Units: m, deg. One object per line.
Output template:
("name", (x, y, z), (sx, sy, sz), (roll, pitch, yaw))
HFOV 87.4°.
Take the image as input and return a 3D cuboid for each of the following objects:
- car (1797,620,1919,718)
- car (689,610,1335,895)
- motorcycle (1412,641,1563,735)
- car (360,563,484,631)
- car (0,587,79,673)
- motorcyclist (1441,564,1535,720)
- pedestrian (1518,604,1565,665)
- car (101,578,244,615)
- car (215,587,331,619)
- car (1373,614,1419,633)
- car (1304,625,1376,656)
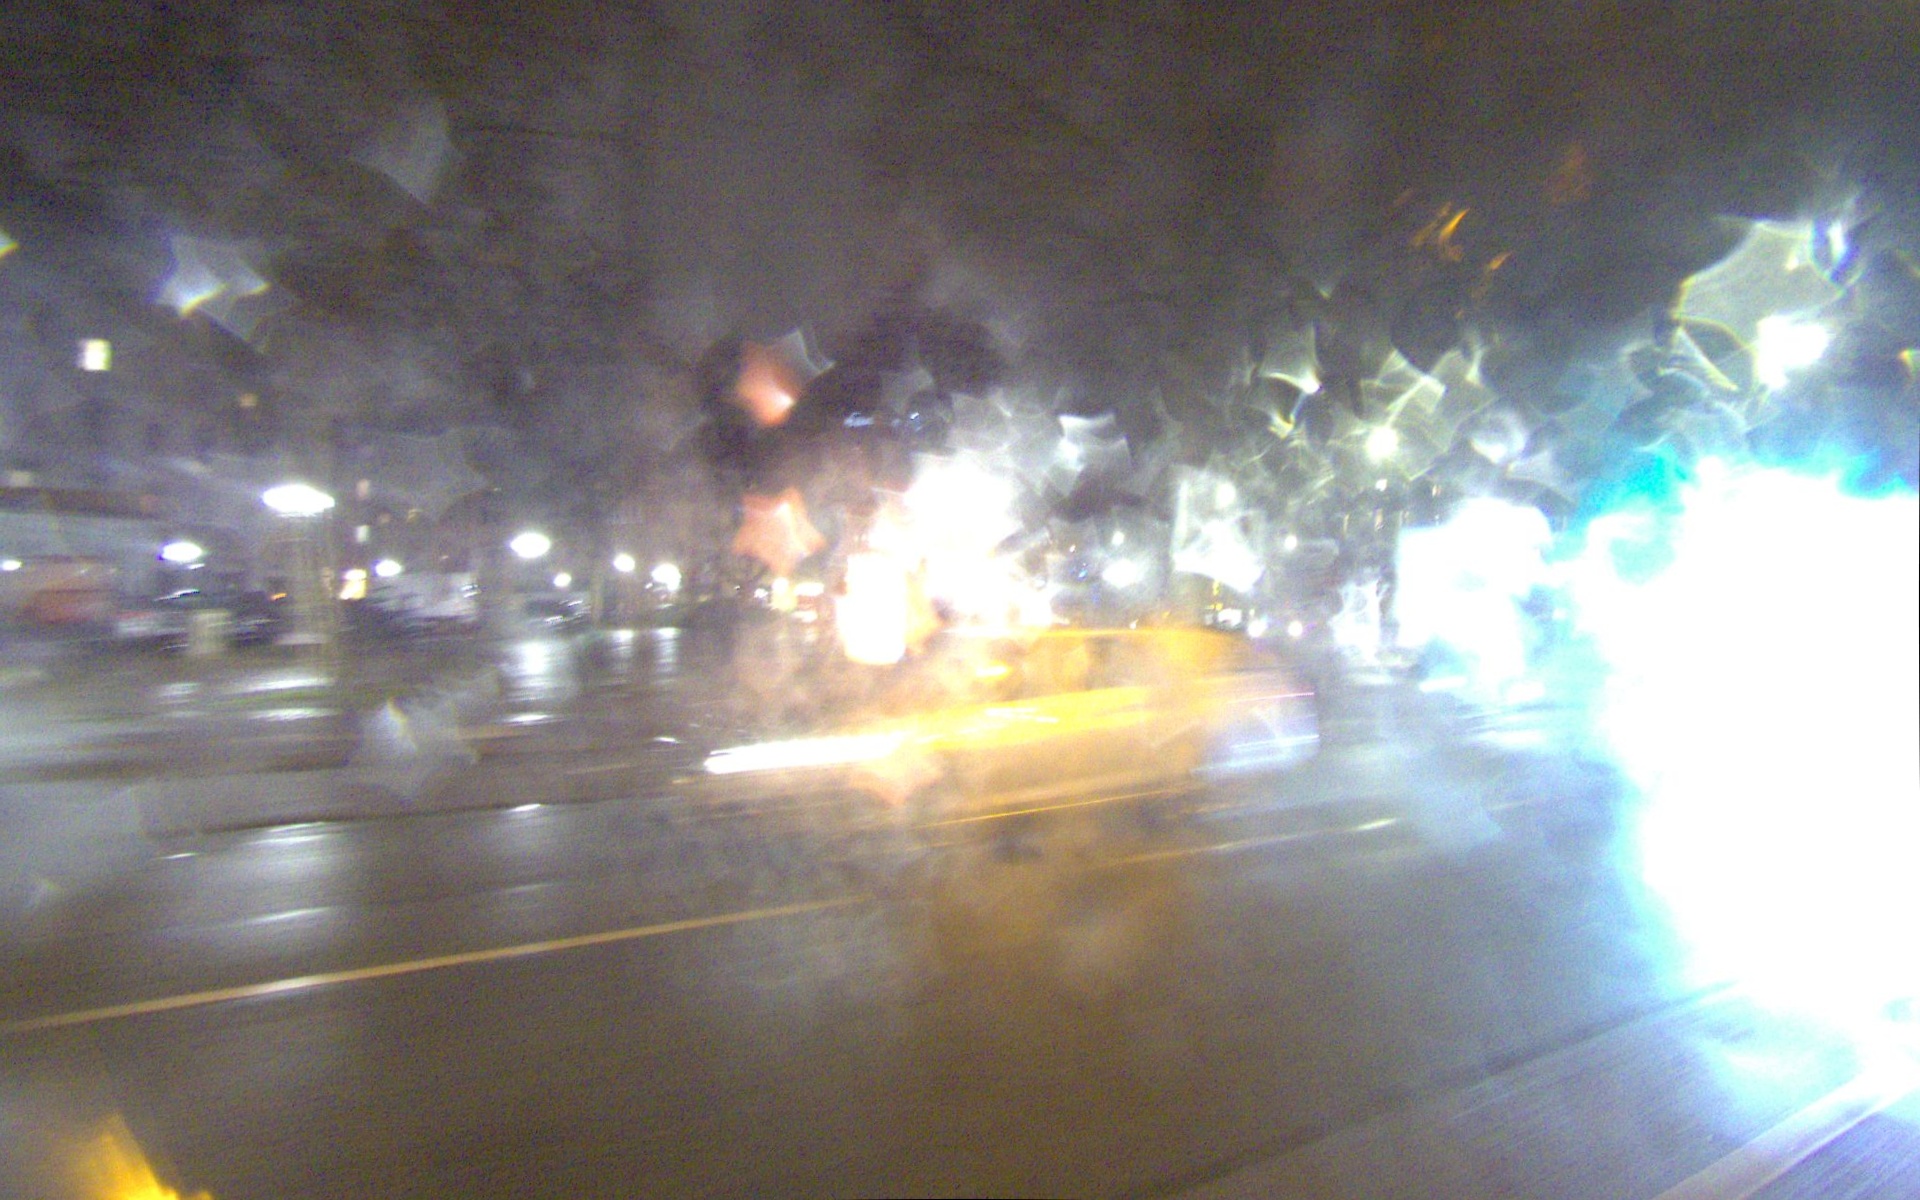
("car", (16.389, 1.119, 17.489), (4.064, 1.531, 1.636), (0, -2, -33))
("car", (0.570, 0.847, 7.549), (4.719, 1.519, 1.841), (0, 0, -34))
("motorcycle", (7.215, 1.166, 13.714), (2.147, 1.154, 0.699), (0, 0, -26))
("car", (-22.980, -0.125, 43.034), (4.275, 2.767, 1.717), (1, 0, -8))
("car", (-19.105, 0.511, 18.614), (3.847, 1.540, 1.717), (1, 0, -8))
("motorcyclist", (7.196, 0.552, 13.699), (0.969, 2.040, 0.691), (0, 0, -26))
("pedestrian", (17.192, 1.007, 29.709), (0.950, 1.759, 0.771), (1, 0, 6))
("car", (-33.553, -0.127, 42.925), (4.412, 1.462, 1.868), (1, 0, -9))
("car", (-34.354, 0.152, 50.337), (4.412, 1.462, 1.868), (1, 0, -9))
("car", (42.695, 2.330, 98.514), (2.051, 1.804, 4.324), (1, -1, -11))
("car", (21.059, 2.203, 55.839), (1.863, 1.590, 4.327), (0, -1, -8))
